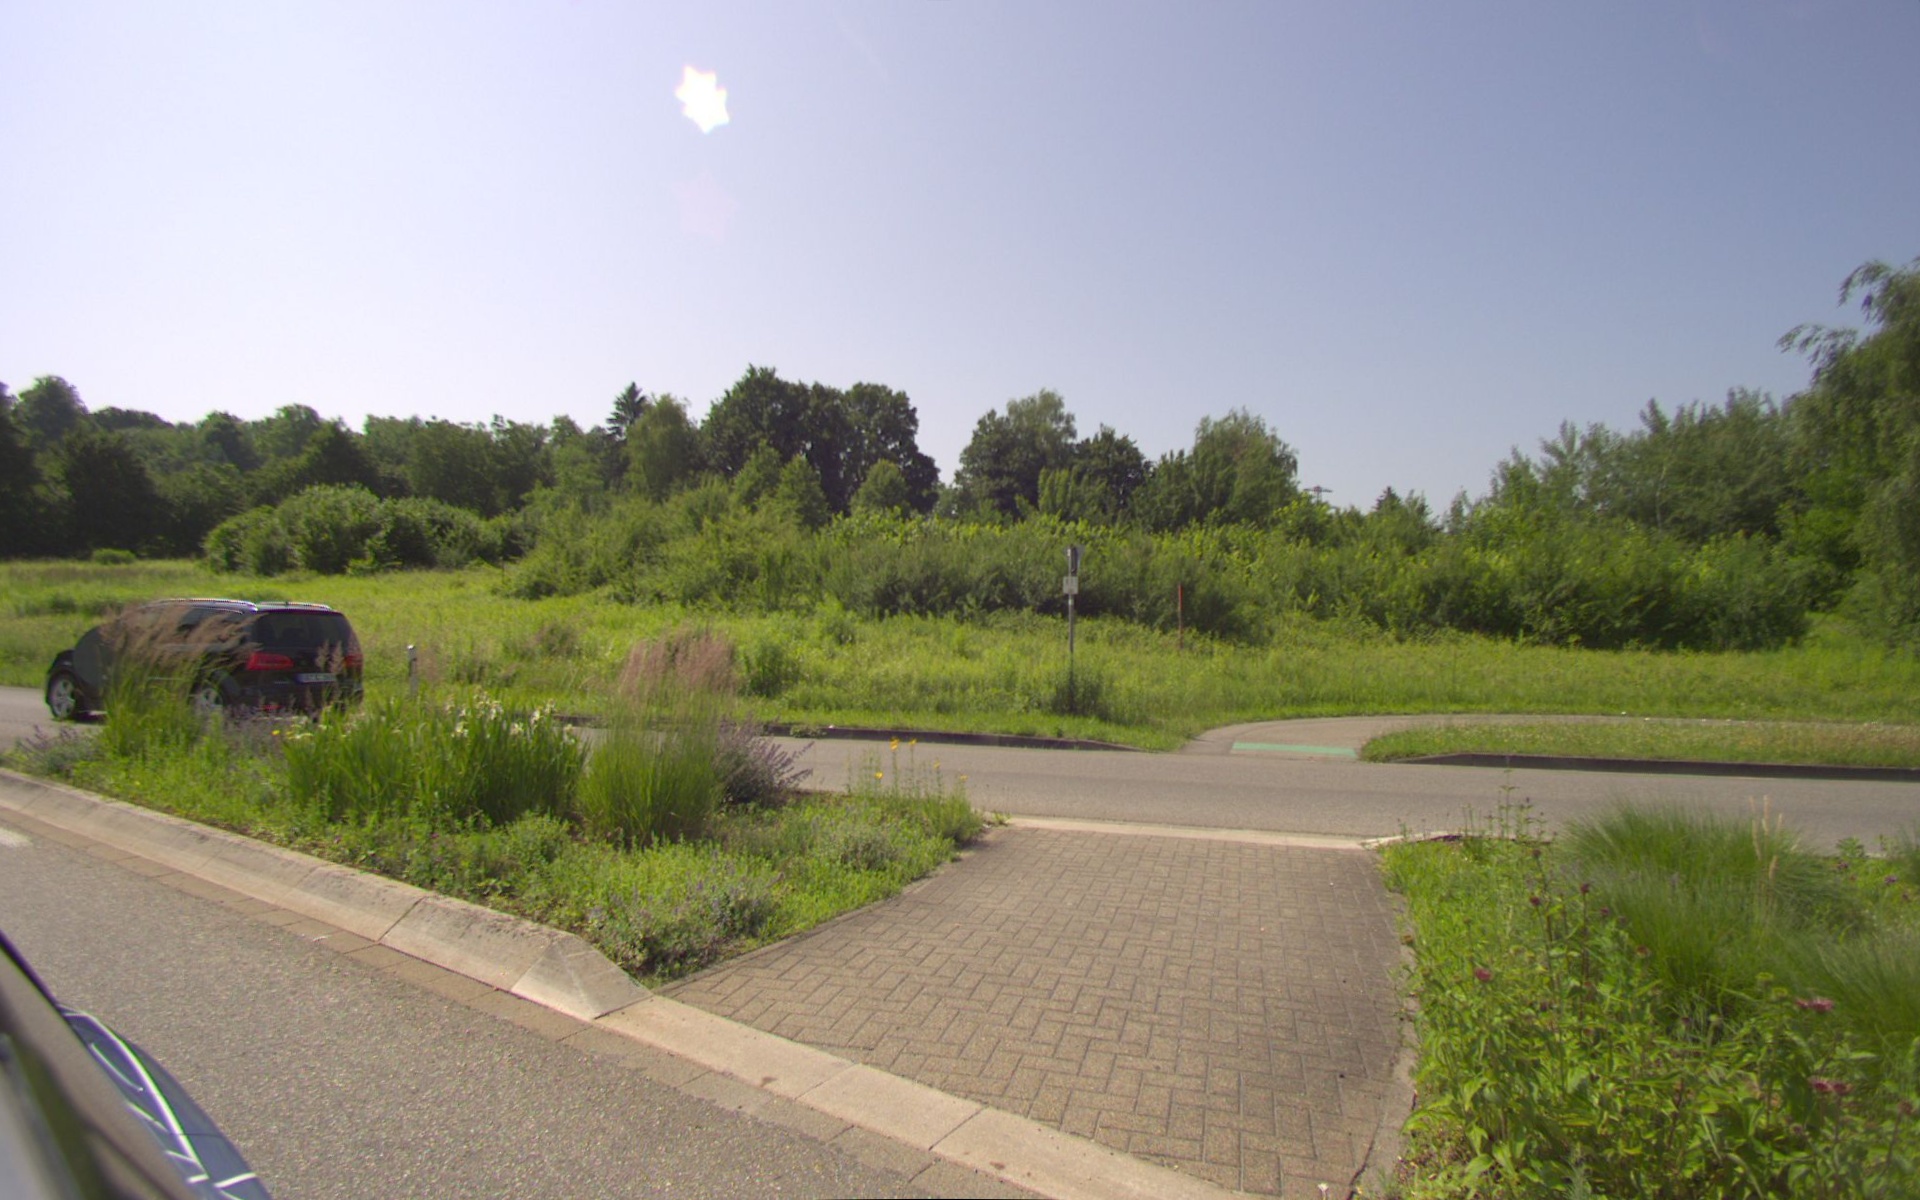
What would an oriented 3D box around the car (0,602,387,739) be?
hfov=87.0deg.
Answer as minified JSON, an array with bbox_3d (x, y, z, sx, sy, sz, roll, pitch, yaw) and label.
[{"bbox_3d":[-10.118,0.872,13.400,4.334,1.607,1.903,0,-3,16],"label":"car"}]
